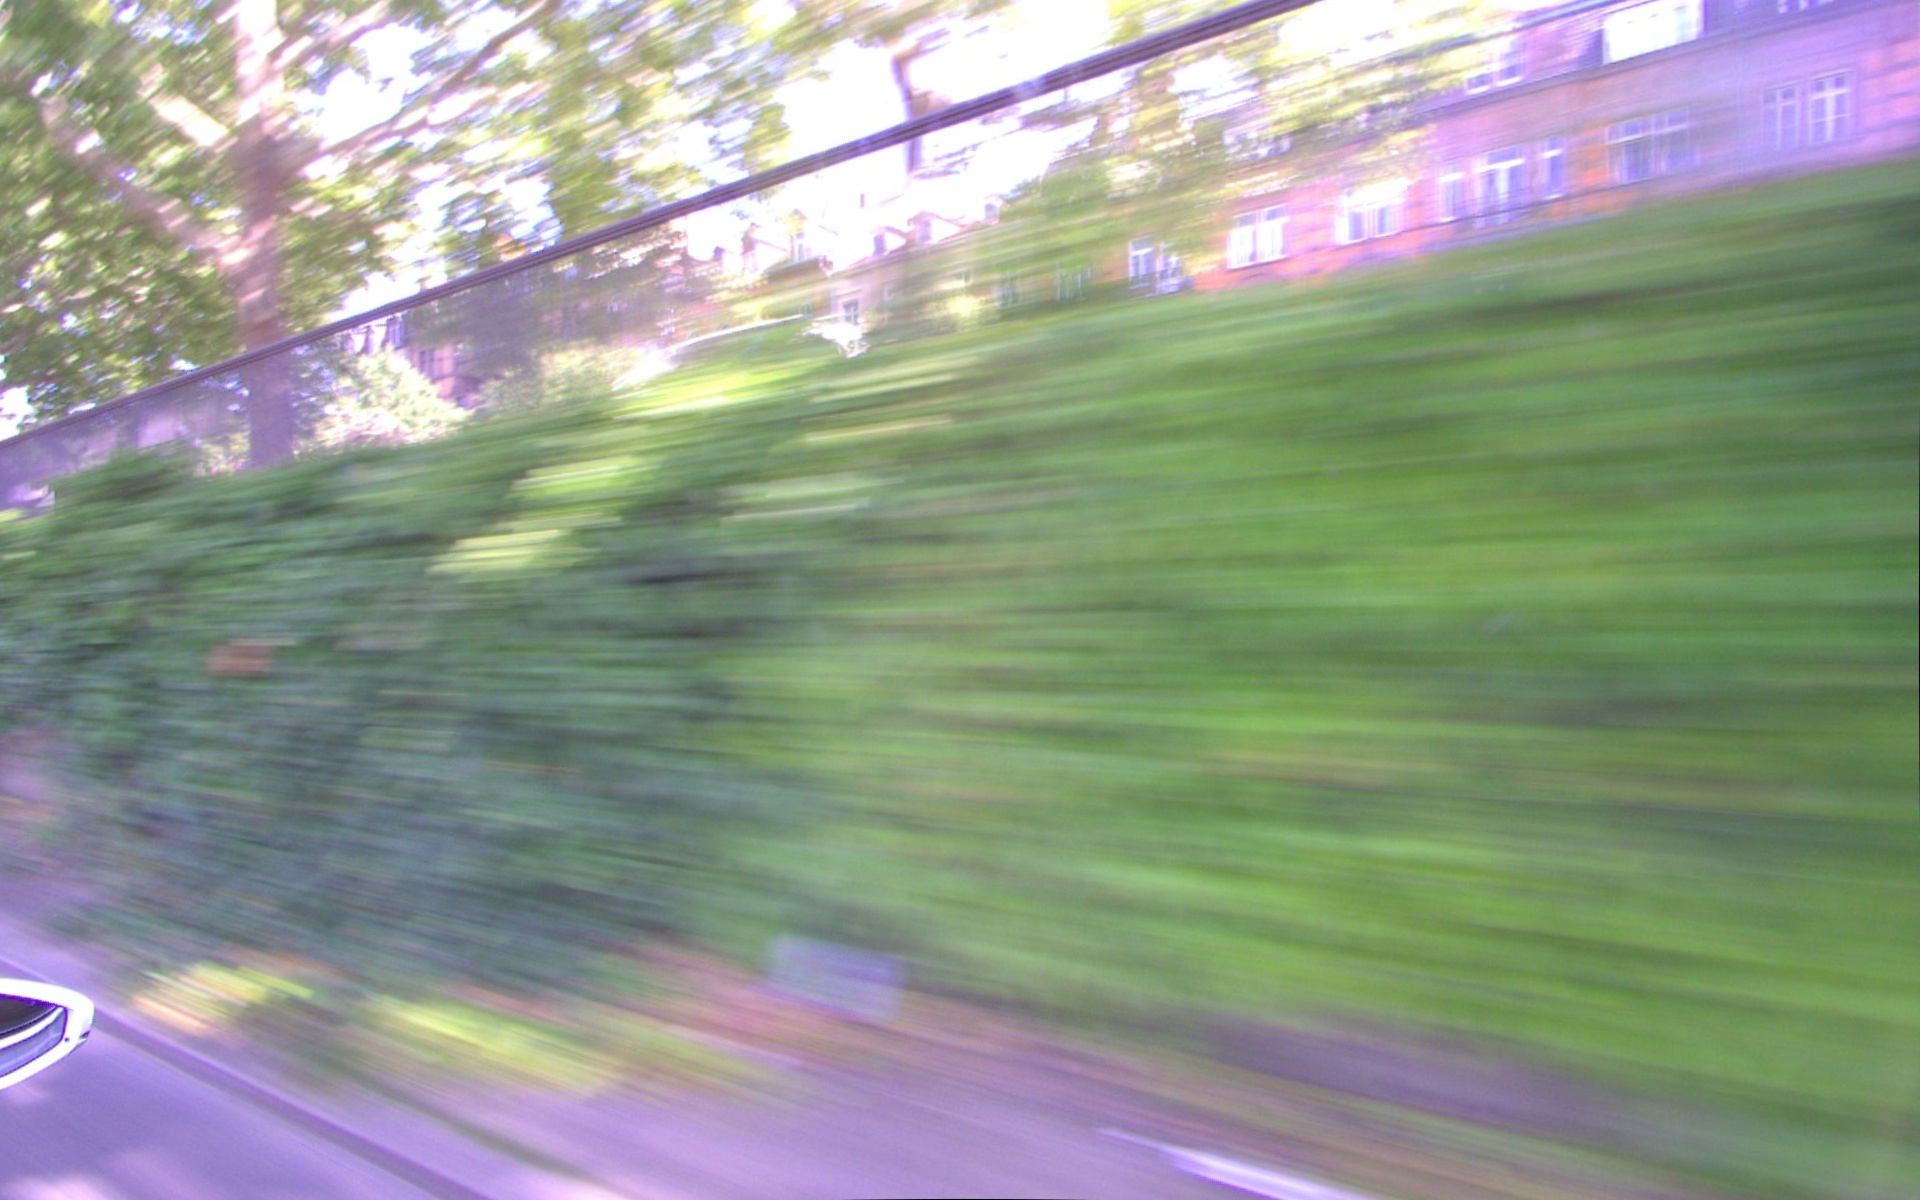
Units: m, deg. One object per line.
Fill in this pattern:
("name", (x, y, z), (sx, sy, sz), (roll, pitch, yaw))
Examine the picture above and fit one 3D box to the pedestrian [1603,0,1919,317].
("pedestrian", (2.350, -1.781, 2.892), (0.799, 1.612, 0.735), (-1, 1, 31))
